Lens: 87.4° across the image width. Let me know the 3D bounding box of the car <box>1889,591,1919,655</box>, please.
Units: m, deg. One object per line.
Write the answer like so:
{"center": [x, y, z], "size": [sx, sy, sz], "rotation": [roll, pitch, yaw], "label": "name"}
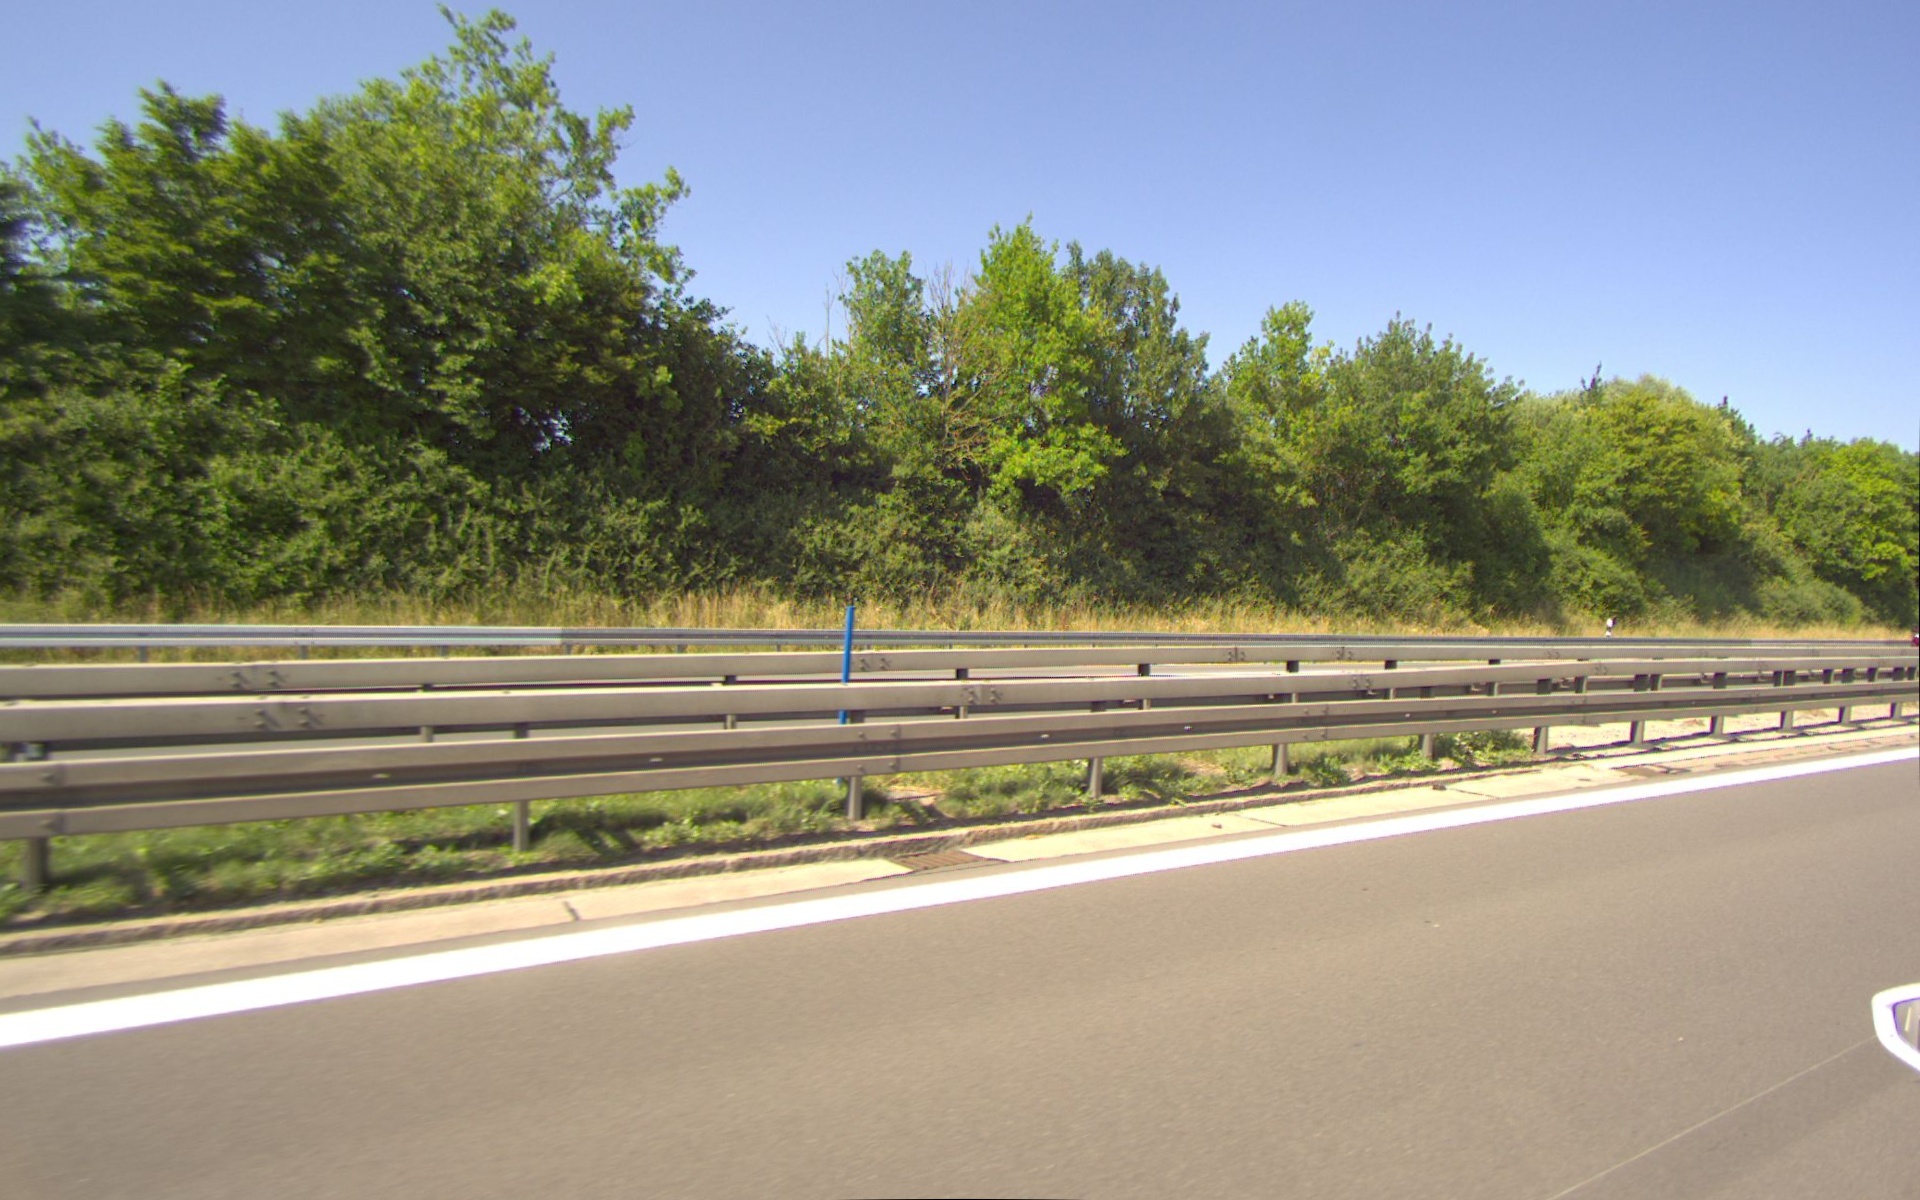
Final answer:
{"center": [42.481, 1.030, 42.805], "size": [6.518, 2.630, 2.530], "rotation": [1, 1, -31], "label": "car"}
